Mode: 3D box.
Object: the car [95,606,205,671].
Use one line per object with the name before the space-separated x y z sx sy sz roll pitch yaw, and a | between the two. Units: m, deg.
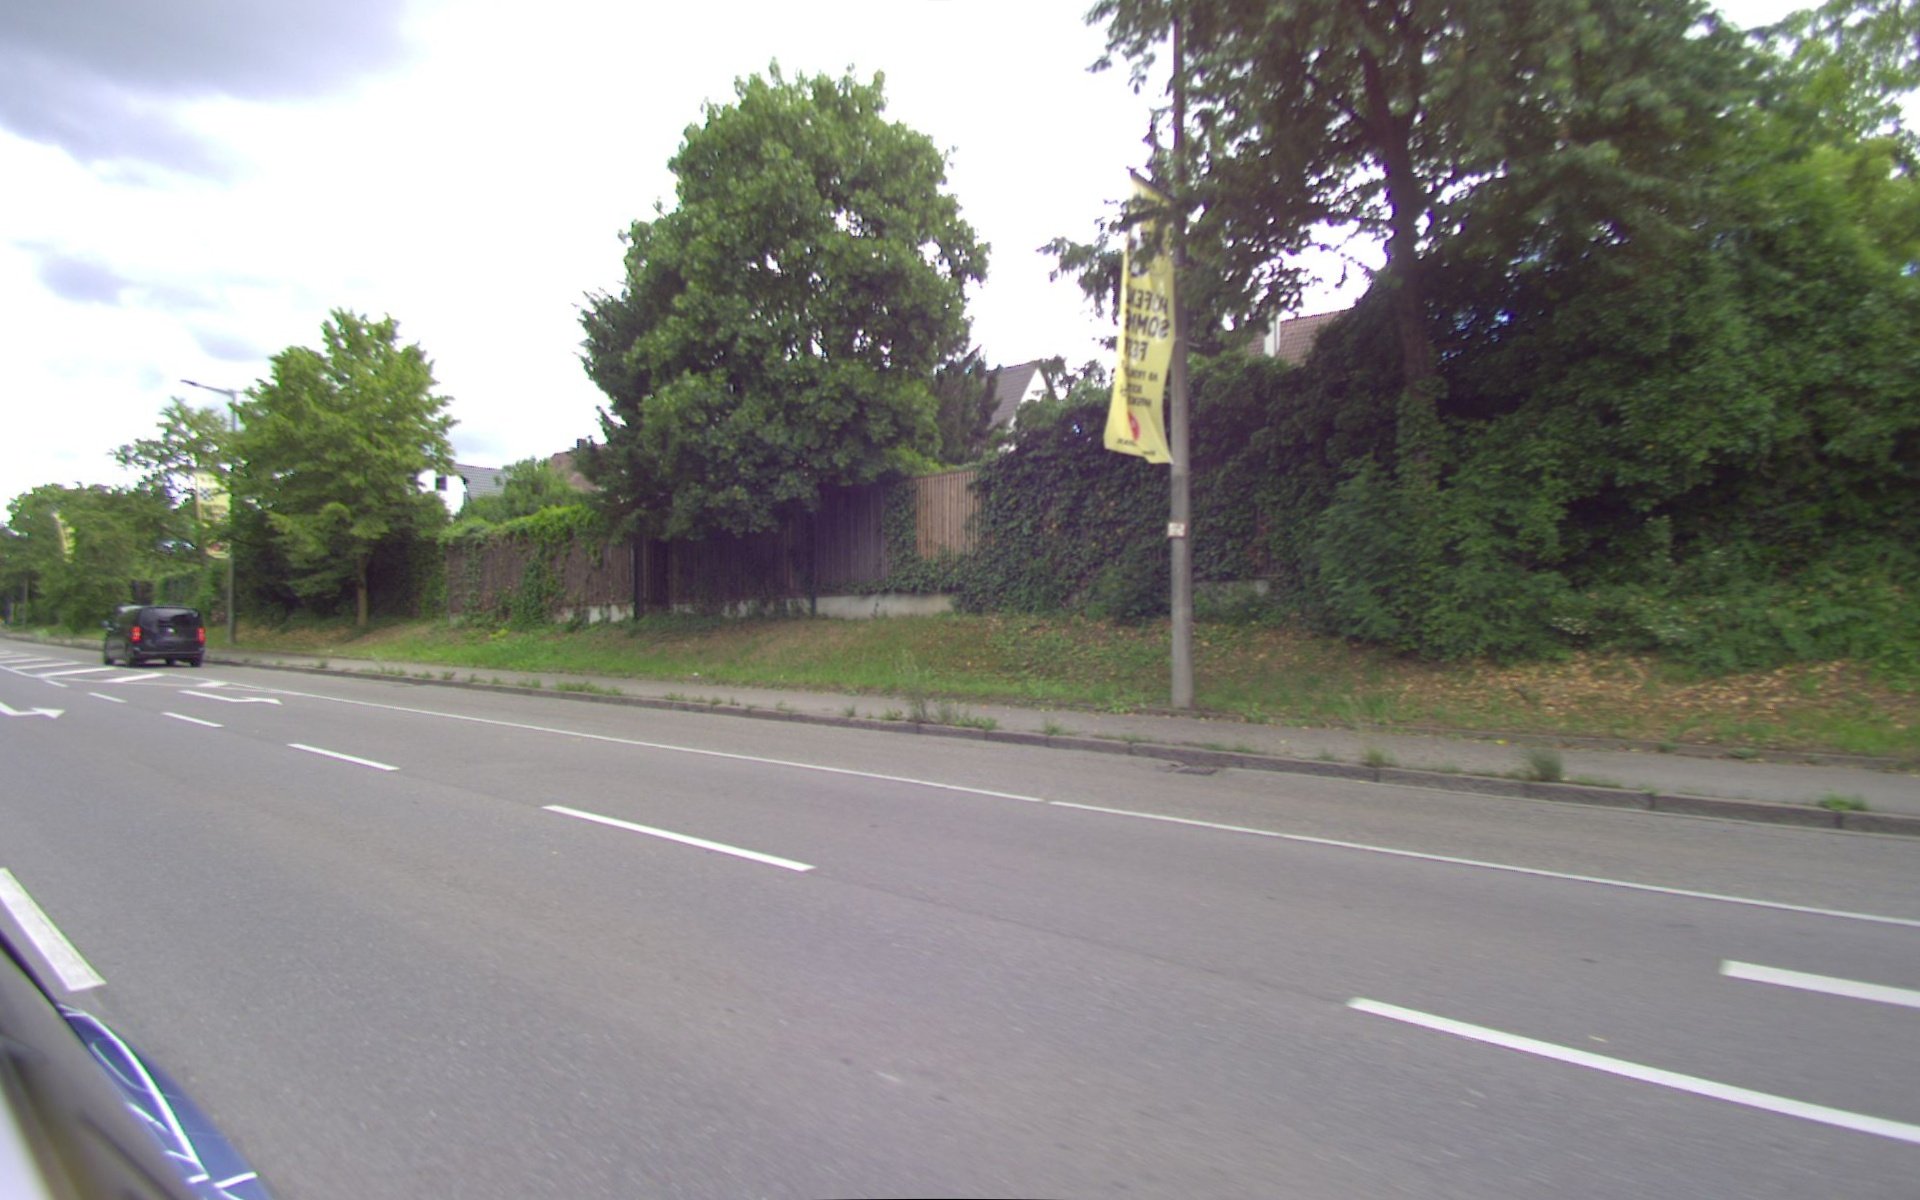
car | -25.705 1.198 32.080 4.685 1.919 1.785 -1 -2 40
